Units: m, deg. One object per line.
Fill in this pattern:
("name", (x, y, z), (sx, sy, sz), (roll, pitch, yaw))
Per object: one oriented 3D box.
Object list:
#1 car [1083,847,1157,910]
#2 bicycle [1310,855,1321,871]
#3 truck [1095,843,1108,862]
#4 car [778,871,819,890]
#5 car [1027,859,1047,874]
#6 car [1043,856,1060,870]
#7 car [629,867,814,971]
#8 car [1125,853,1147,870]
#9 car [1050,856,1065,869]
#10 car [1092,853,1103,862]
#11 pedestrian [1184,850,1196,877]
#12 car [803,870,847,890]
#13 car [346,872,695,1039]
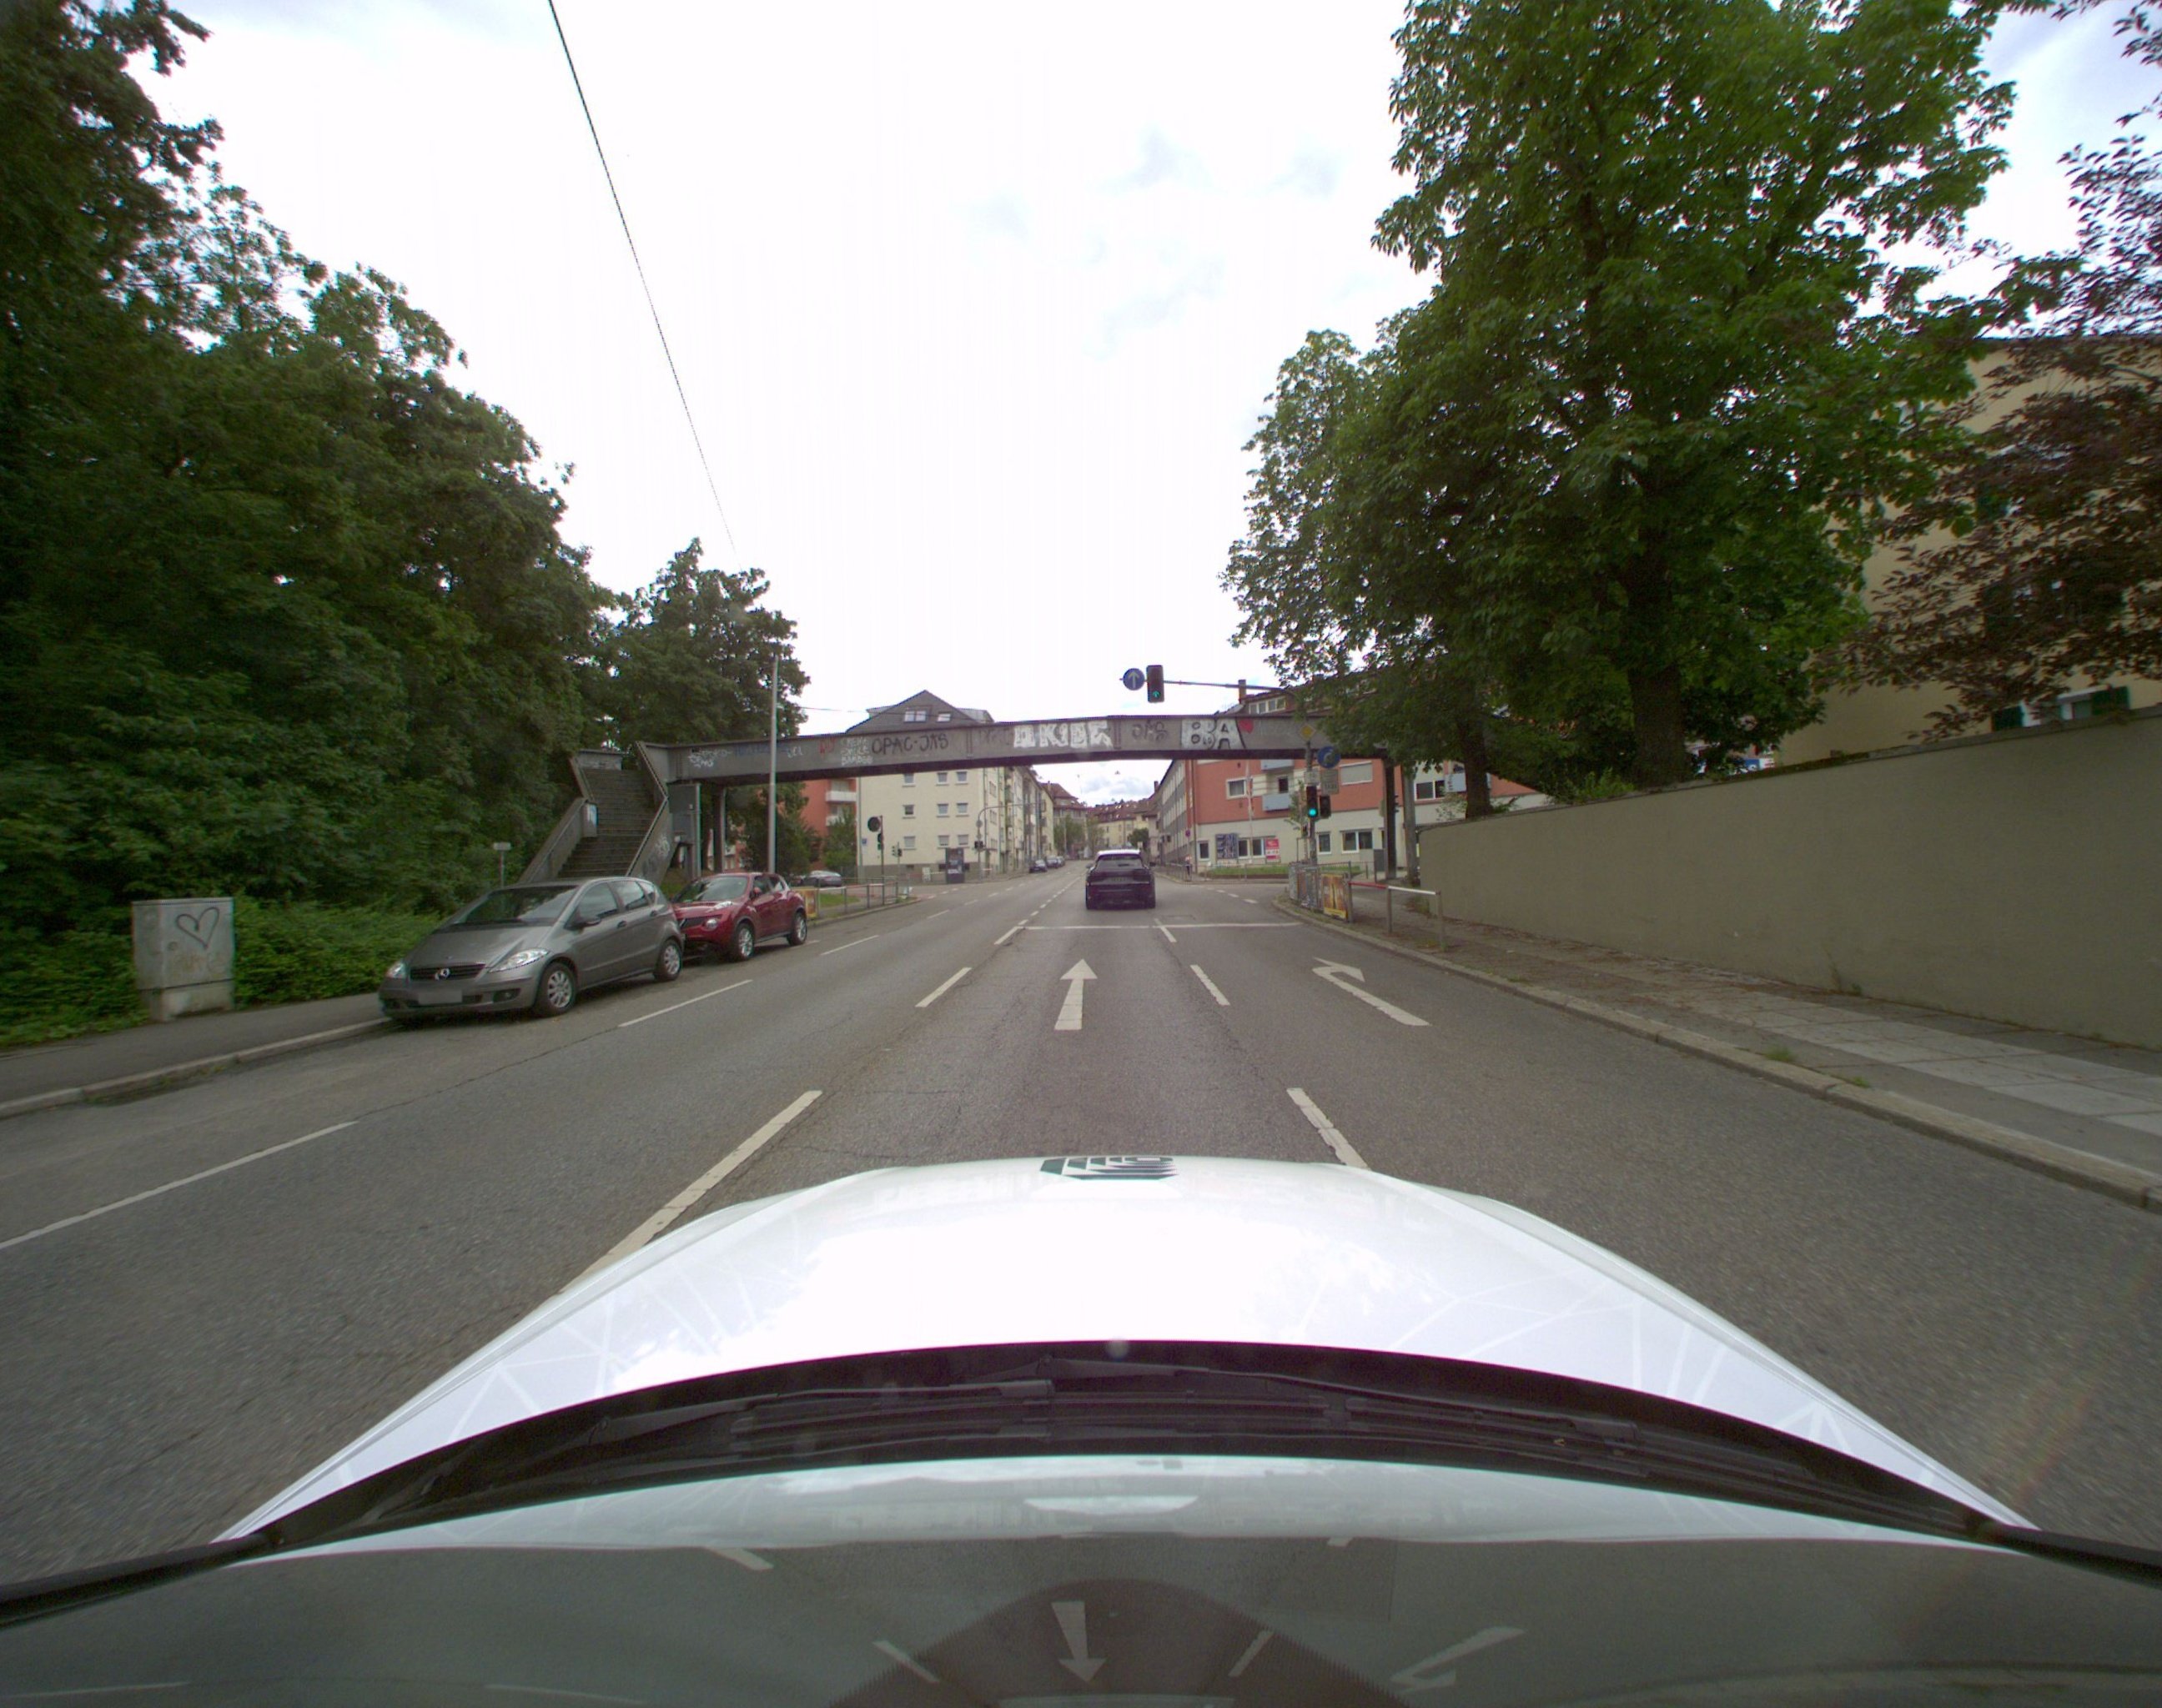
("car", (1.139, 0.641, 24.226), (1.986, 1.662, 4.002), (-1, 1, 2))
("bicycle", (13.696, 0.533, 47.568), (0.337, 0.903, 1.754), (-2, 0, 25))
("truck", (3.949, -0.330, 155.353), (2.258, 3.424, 9.881), (-2, 0, 1))
("car", (-23.584, 2.193, 68.007), (1.817, 1.510, 3.952), (-2, 0, -42))
("car", (-4.699, 1.288, 88.069), (1.759, 1.508, 4.002), (-2, 0, 2))
("car", (-3.751, 1.146, 104.522), (1.759, 1.650, 4.002), (-2, 0, 2))
("car", (-6.497, 1.090, 15.234), (1.528, 1.540, 3.983), (-3, 0, 1))
("car", (4.844, 0.640, 72.245), (1.735, 1.400, 4.002), (-1, 1, 2))
("car", (-3.308, 1.187, 113.611), (1.759, 1.650, 4.002), (-2, 0, 2))
("car", (2.718, 0.559, 132.701), (1.759, 1.508, 4.002), (-2, 0, 2))
("pedestrian", (7.334, 0.622, 54.712), (0.651, 1.792, 0.714), (-1, 0, -1))
("car", (-20.104, 2.046, 63.926), (1.817, 1.510, 3.952), (-2, 0, -42))
("car", (-6.830, 1.112, 10.534), (1.740, 1.568, 3.907), (-3, 0, 0))
